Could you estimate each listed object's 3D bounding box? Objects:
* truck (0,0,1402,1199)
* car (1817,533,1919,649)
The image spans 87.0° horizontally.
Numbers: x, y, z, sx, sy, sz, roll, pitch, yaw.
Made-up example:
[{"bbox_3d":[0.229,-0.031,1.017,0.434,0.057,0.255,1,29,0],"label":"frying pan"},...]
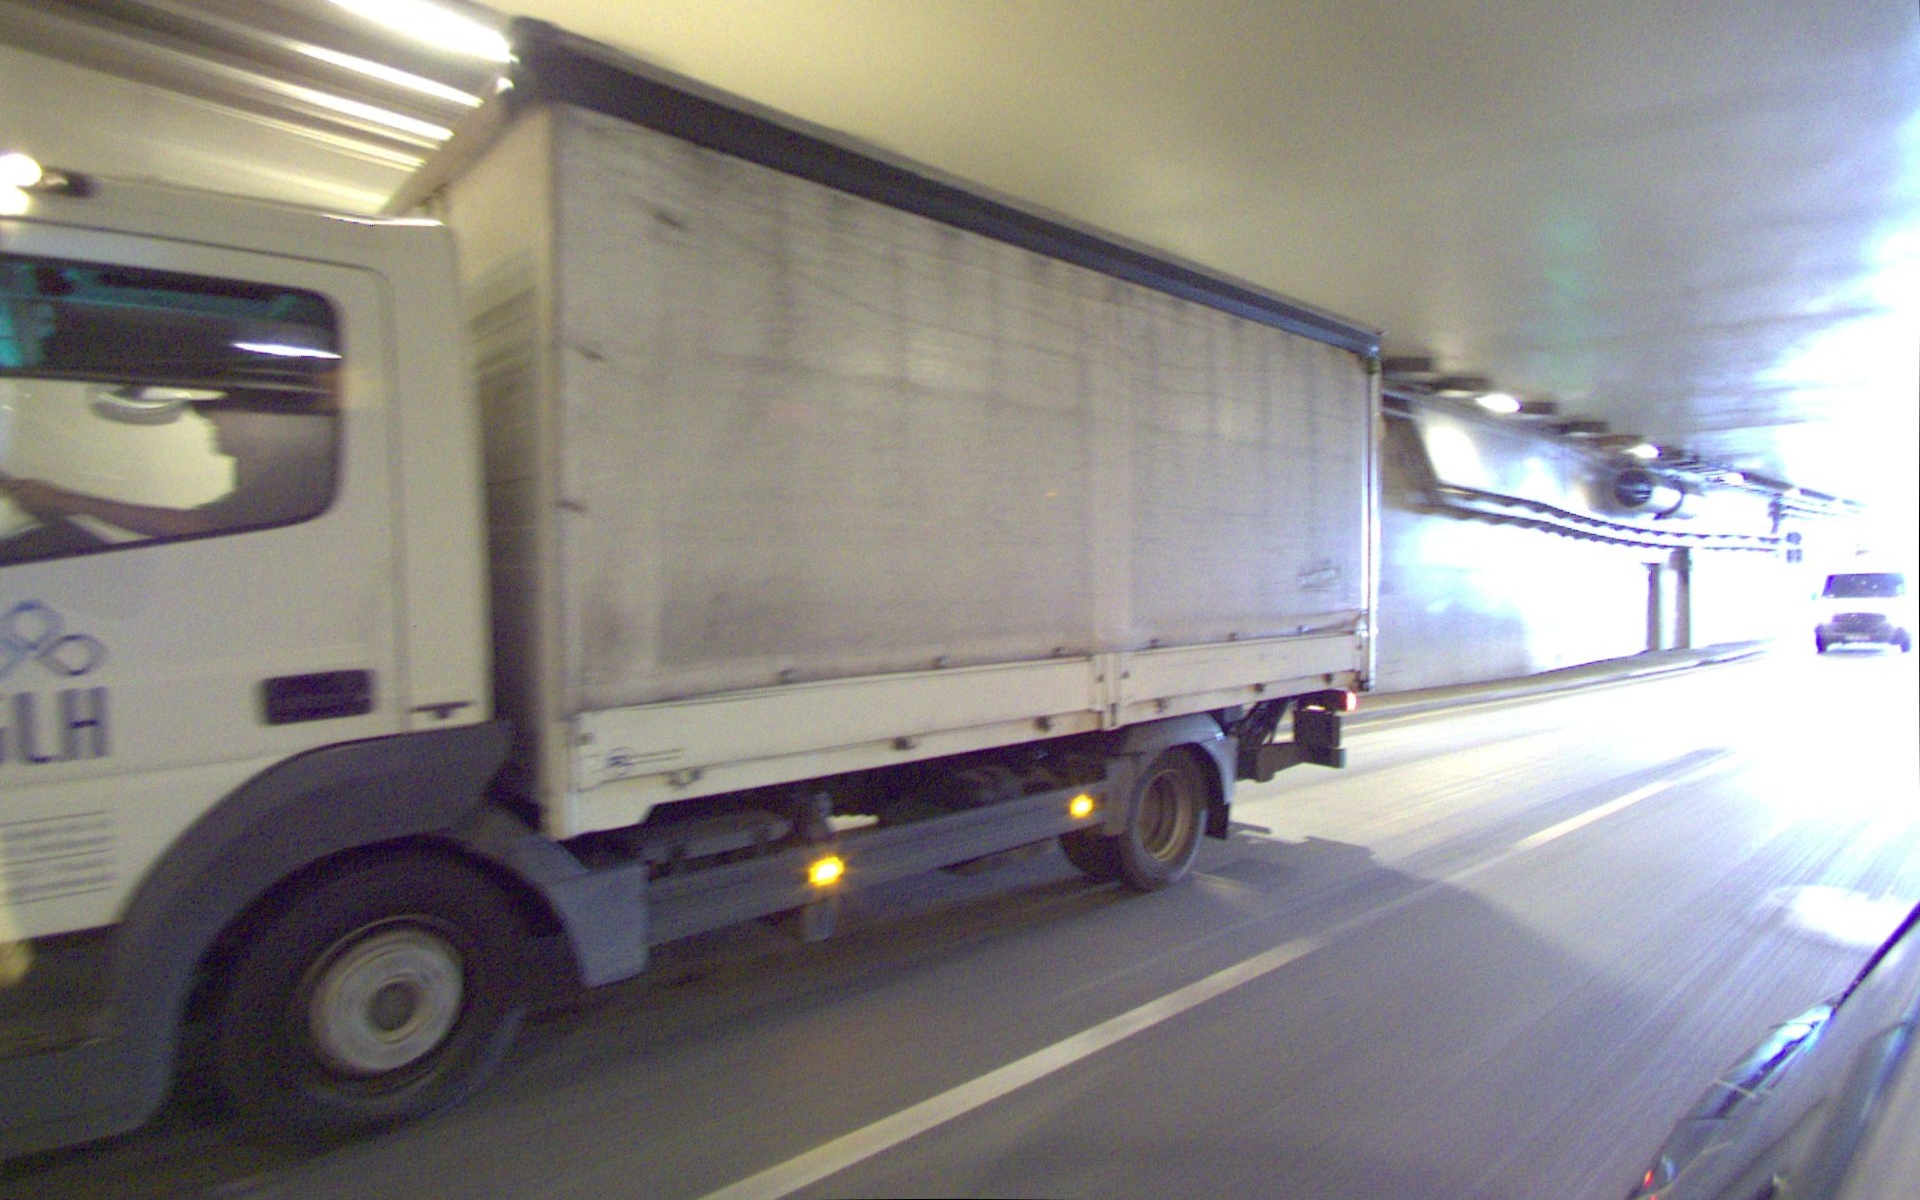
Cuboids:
[{"bbox_3d":[-0.636,-0.200,4.991,7.123,3.221,2.556,0,0,-43],"label":"truck"},{"bbox_3d":[25.931,-0.312,28.280,6.744,2.883,2.104,-2,1,-42],"label":"car"}]
